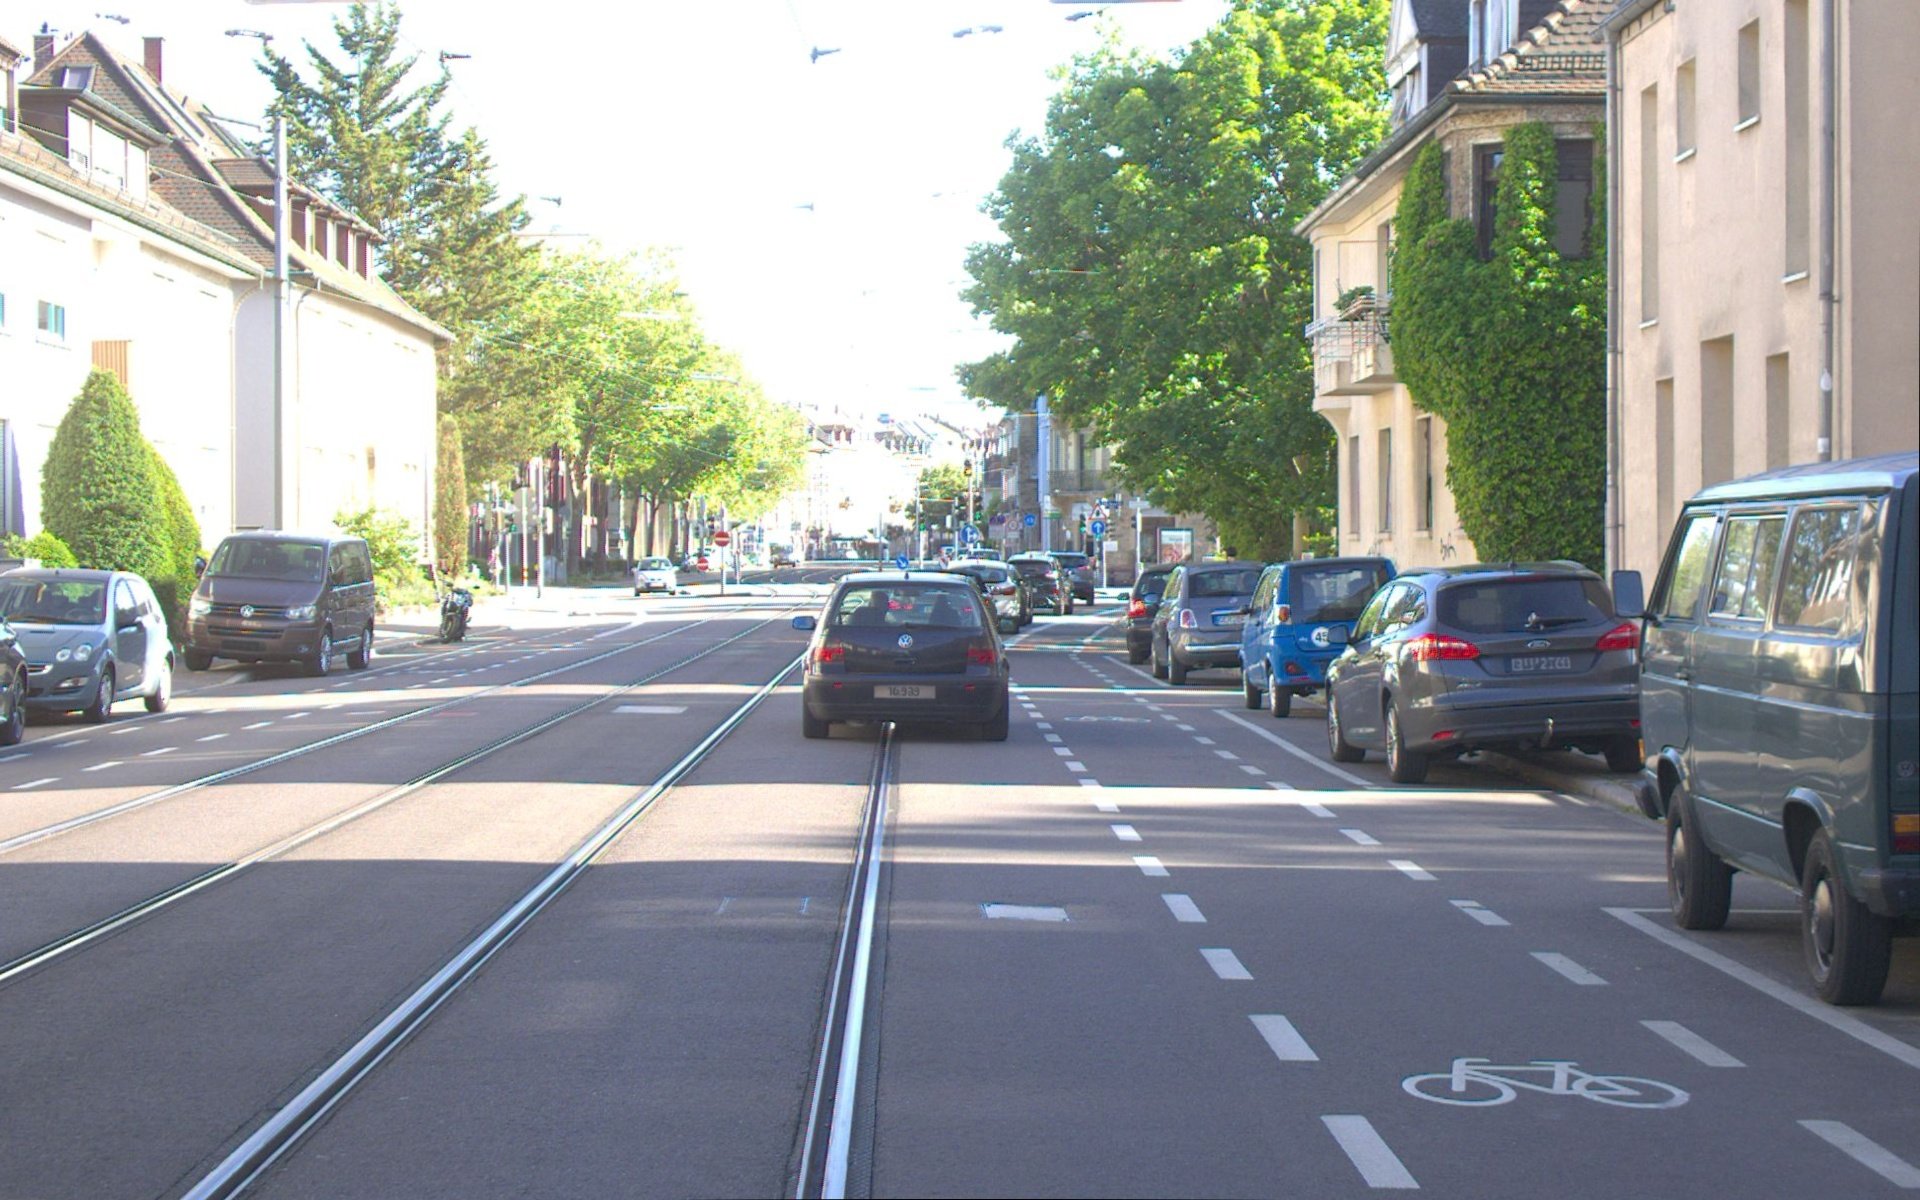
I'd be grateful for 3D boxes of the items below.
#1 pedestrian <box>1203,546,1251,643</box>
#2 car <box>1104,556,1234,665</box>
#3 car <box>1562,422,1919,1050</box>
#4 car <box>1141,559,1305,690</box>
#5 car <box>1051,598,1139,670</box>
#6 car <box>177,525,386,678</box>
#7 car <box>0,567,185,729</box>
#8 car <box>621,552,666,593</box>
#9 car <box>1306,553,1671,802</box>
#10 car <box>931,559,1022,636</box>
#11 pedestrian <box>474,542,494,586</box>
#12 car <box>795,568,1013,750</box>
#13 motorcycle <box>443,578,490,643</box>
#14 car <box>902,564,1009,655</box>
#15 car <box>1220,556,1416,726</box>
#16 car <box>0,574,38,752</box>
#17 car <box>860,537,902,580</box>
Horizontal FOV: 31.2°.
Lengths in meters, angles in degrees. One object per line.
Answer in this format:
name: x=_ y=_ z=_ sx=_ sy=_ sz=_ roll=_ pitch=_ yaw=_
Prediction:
pedestrian: x=4.730 y=-0.101 z=60.867 sx=0.717 sy=1.682 sz=0.870 roll=-2 pitch=1 yaw=-2
car: x=3.124 y=0.138 z=51.883 sx=1.665 sy=1.558 sz=3.771 roll=1 pitch=0 yaw=-1
car: x=3.740 y=0.412 z=13.168 sx=1.905 sy=1.980 sz=4.563 roll=1 pitch=1 yaw=-2
car: x=3.271 y=0.276 z=43.290 sx=1.601 sy=1.520 sz=3.550 roll=1 pitch=1 yaw=-3
car: x=2.899 y=0.709 z=74.371 sx=1.569 sy=1.306 sz=3.648 roll=-1 pitch=3 yaw=-3
car: x=-9.507 y=-0.023 z=48.583 sx=1.906 sy=2.007 sz=4.949 roll=1 pitch=1 yaw=0
car: x=-9.069 y=0.437 z=34.616 sx=1.676 sy=1.472 sz=3.835 roll=1 pitch=1 yaw=-1
car: x=-11.740 y=-1.025 z=127.432 sx=1.575 sy=1.472 sz=3.441 roll=-1 pitch=1 yaw=-6
car: x=3.722 y=0.485 z=24.949 sx=1.744 sy=1.593 sz=4.434 roll=1 pitch=1 yaw=-3
car: x=0.298 y=-0.072 z=67.974 sx=1.740 sy=1.436 sz=3.810 roll=0 pitch=1 yaw=-1
pedestrian: x=-18.664 y=-1.409 z=134.797 sx=0.609 sy=1.684 sz=0.734 roll=2 pitch=1 yaw=-19
car: x=-0.471 y=0.456 z=29.552 sx=1.716 sy=1.398 sz=4.006 roll=1 pitch=1 yaw=-1
motorcycle: x=-9.232 y=0.193 z=64.340 sx=0.536 sy=1.158 sz=2.172 roll=-2 pitch=1 yaw=0
car: x=-0.070 y=0.127 z=54.793 sx=1.634 sy=1.367 sz=3.757 roll=-1 pitch=1 yaw=0
car: x=3.565 y=0.376 z=34.677 sx=1.457 sy=1.593 sz=3.294 roll=1 pitch=1 yaw=-3
car: x=-8.801 y=0.547 z=28.135 sx=1.662 sy=1.472 sz=4.251 roll=0 pitch=1 yaw=-5
car: x=-3.625 y=-1.899 z=157.330 sx=1.787 sy=1.853 sz=4.001 roll=2 pitch=1 yaw=-2
